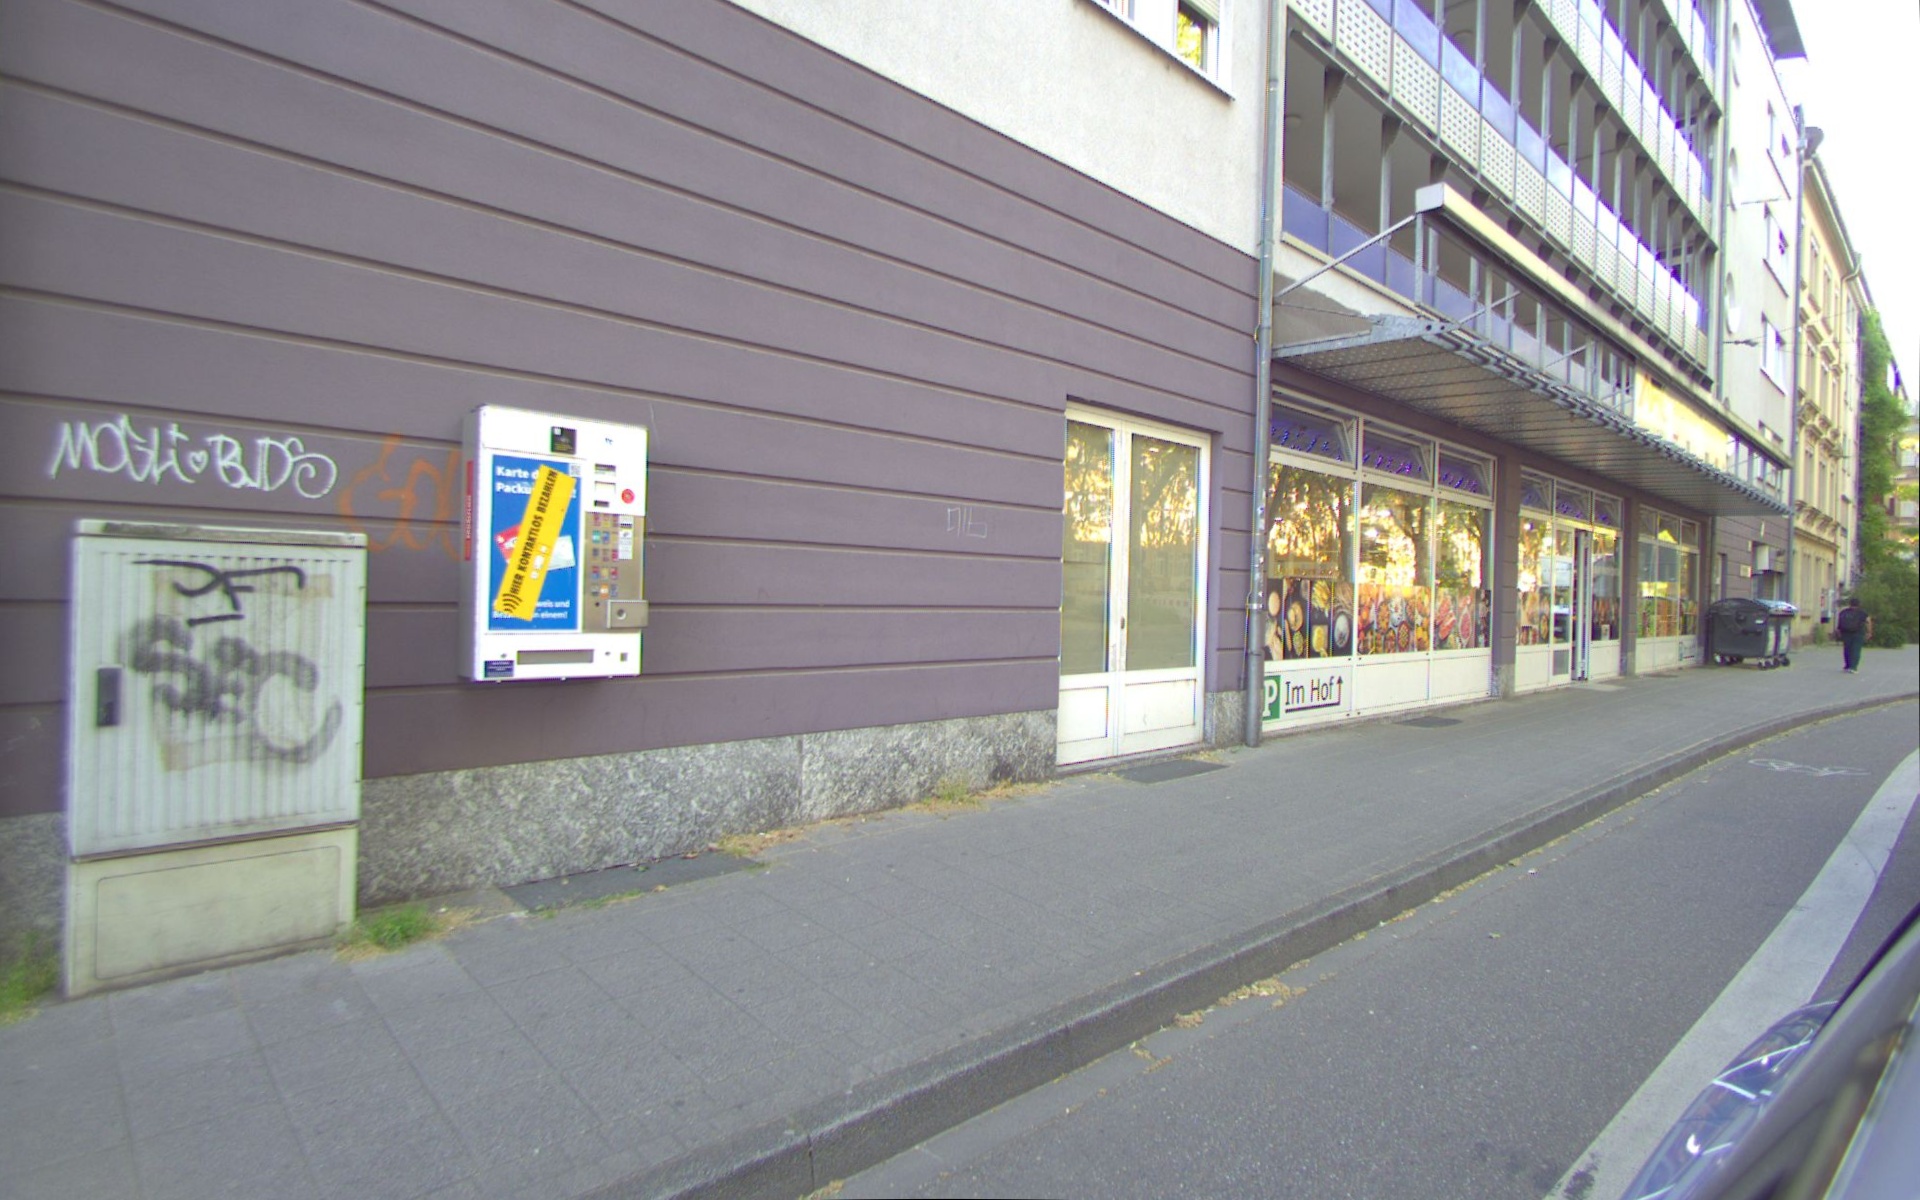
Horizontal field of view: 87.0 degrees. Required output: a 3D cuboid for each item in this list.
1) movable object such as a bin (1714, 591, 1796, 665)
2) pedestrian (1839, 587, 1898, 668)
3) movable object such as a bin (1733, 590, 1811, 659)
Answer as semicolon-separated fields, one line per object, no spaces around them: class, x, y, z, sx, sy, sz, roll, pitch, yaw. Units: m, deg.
movable object such as a bin;16.317;0.548;20.778;0.923;1.444;1.158;1;1;-40
pedestrian;18.716;0.548;20.857;0.862;1.612;0.613;2;1;44
movable object such as a bin;17.776;0.516;22.154;0.923;1.444;1.158;1;1;-40
